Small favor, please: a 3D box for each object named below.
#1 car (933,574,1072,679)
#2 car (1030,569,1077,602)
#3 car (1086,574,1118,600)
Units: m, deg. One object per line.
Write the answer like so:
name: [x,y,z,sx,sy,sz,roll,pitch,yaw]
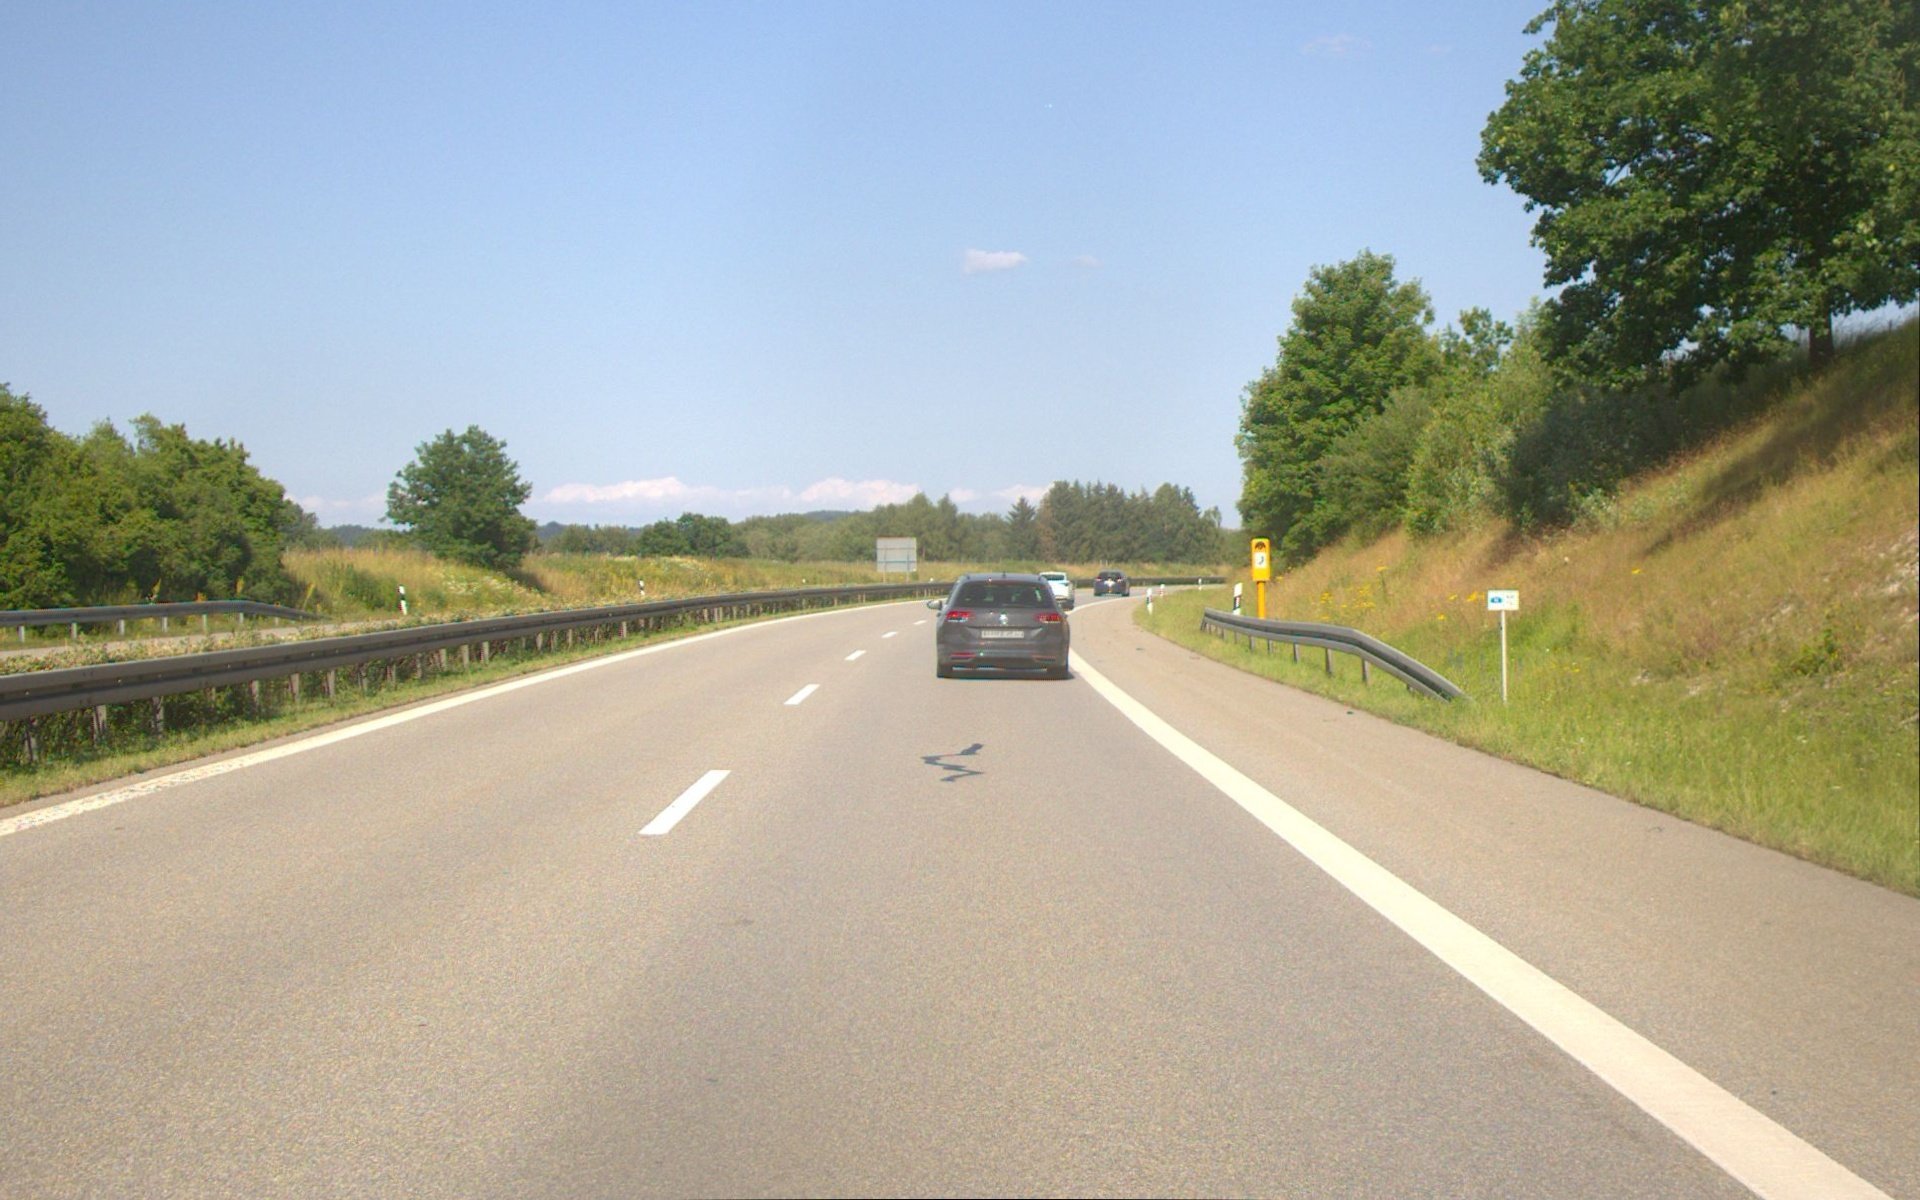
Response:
car: [0.537,0.332,47.039,1.791,1.340,4.000,0,1,-1]
car: [4.182,-0.627,153.803,2.007,1.340,4.000,2,0,2]
car: [8.128,-0.749,197.178,1.711,1.382,3.355,2,0,2]
